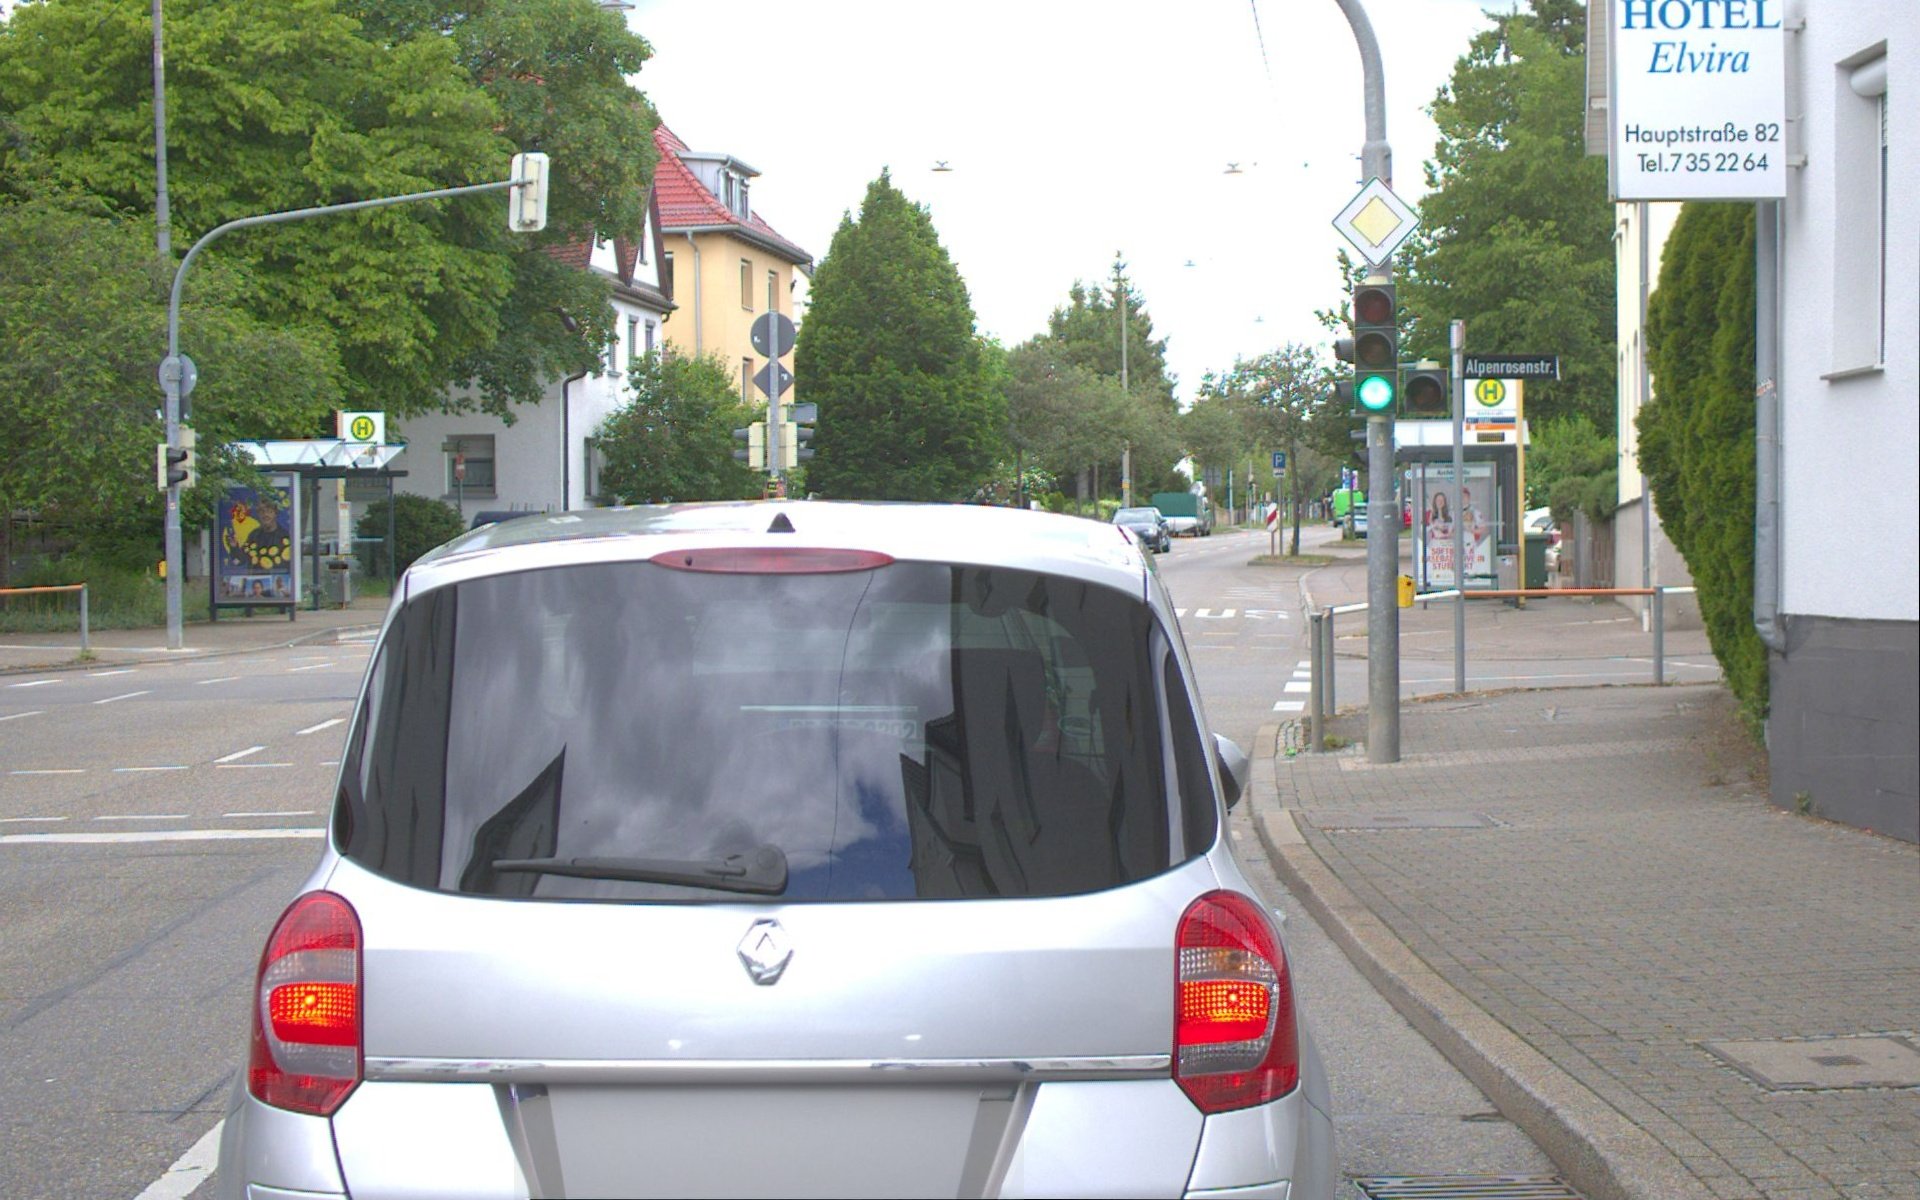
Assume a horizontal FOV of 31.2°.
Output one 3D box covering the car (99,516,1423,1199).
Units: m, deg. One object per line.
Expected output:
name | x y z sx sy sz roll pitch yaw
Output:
car | -0.301 0.626 6.579 1.755 1.525 4.000 0 1 -1

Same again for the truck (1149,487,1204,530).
truck | 10.497 -4.414 166.496 2.102 2.007 5.745 1 1 9

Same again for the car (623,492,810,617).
car | -3.790 -0.740 54.183 1.927 1.767 3.999 -4 1 10

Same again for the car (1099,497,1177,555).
car | 5.563 -2.283 106.938 1.858 1.742 3.998 1 1 11

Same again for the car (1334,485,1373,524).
car | 25.788 -6.244 225.180 2.060 2.503 5.593 1 1 11

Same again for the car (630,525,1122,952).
car | -0.336 0.469 14.231 1.755 1.525 3.797 0 1 -1
